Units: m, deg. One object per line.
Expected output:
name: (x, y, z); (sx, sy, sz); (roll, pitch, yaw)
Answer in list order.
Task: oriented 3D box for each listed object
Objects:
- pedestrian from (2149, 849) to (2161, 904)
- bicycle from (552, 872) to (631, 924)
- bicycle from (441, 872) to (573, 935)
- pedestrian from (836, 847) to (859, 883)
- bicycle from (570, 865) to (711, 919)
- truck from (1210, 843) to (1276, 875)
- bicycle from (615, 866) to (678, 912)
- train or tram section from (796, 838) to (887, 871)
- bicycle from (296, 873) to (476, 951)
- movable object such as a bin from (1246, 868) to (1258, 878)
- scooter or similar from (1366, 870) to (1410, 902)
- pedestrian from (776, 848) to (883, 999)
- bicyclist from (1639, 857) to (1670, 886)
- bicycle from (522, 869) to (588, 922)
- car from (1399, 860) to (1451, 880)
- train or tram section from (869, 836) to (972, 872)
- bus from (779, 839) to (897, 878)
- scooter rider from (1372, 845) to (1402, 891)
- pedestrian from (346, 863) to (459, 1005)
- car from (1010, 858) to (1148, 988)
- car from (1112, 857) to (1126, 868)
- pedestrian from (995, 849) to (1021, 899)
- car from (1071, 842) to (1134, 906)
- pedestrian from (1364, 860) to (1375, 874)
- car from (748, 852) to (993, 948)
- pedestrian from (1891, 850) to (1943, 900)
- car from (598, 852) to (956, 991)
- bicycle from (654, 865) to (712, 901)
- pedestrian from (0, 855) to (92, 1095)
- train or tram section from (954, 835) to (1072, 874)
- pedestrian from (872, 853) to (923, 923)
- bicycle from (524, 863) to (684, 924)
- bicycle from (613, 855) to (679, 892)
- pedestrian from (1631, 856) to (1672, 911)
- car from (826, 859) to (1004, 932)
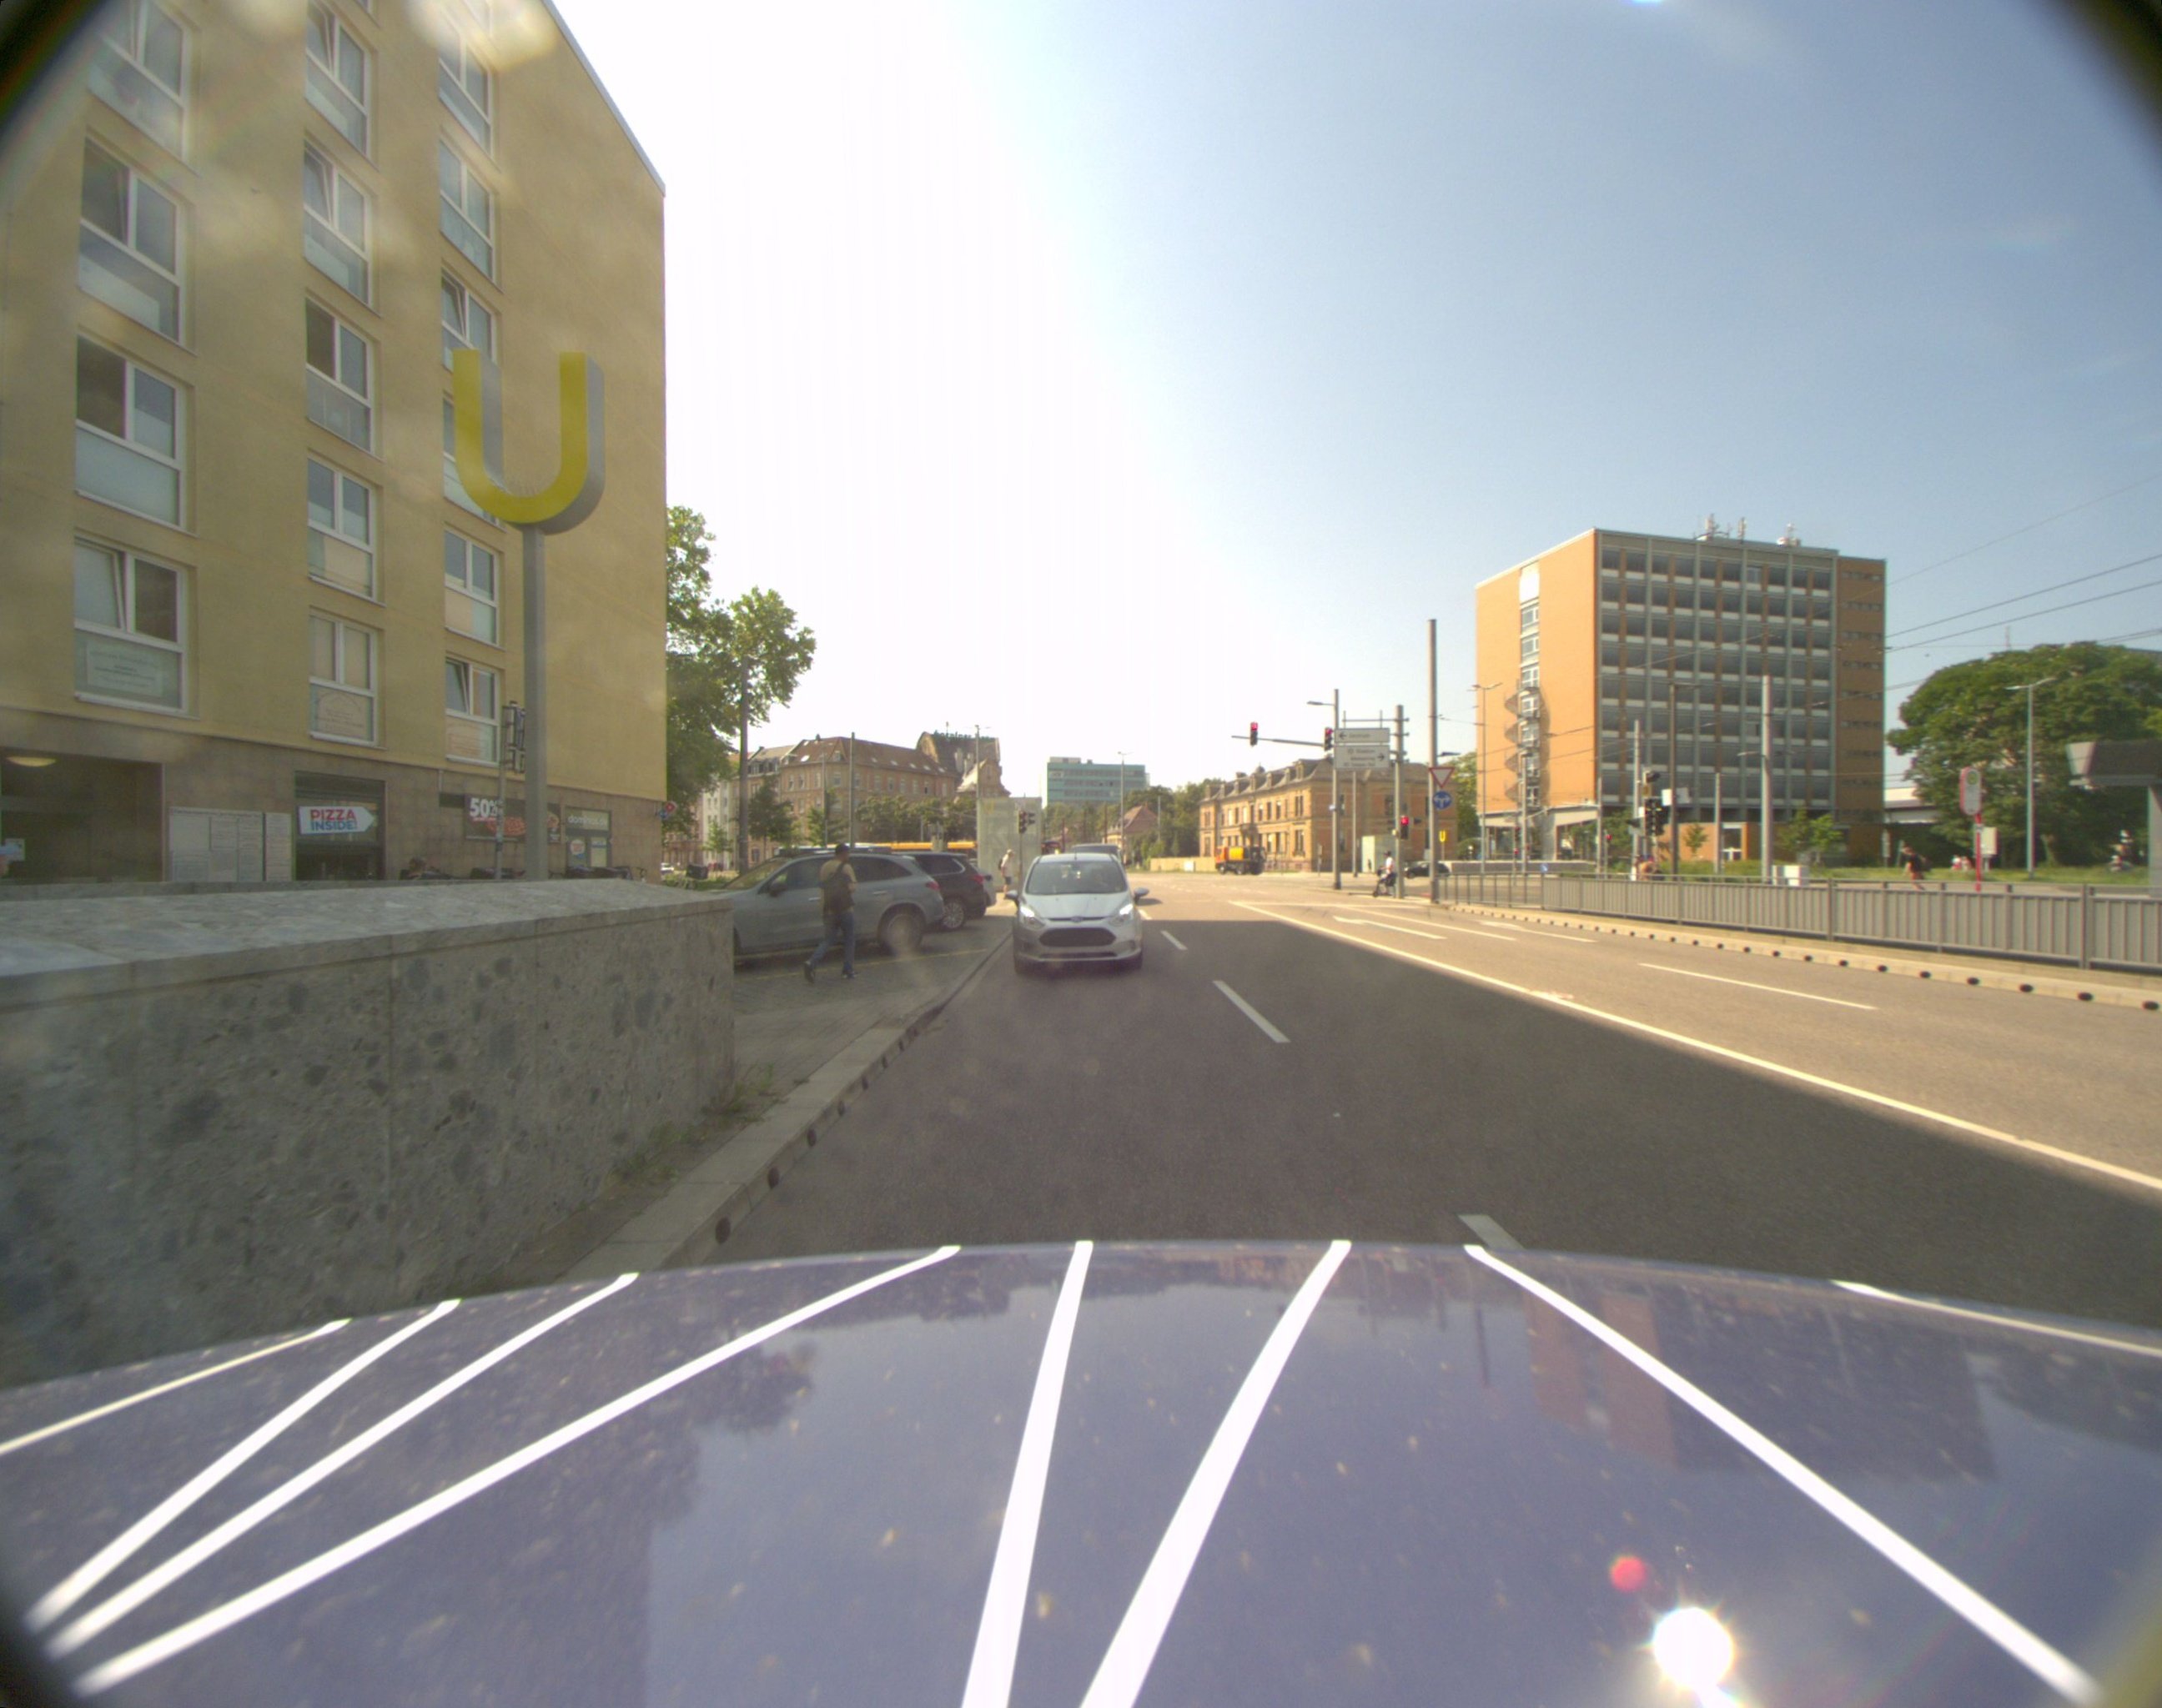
pedestrian: (35.261, 0.724, 24.313); (0.785, 1.769, 0.959); (0, 1, 3)
bicycle: (-12.143, 1.066, 18.887); (0.590, 1.231, 1.548); (0, 0, 33)
bicycle: (-12.419, 1.028, 16.579); (0.941, 1.231, 2.423); (0, 0, 3)
pedestrian: (-10.540, 0.478, 34.292); (0.793, 1.600, 0.949); (0, 1, -3)
bicycle: (-12.315, 1.021, 21.347); (3.370, 1.396, 0.902); (0, 0, -36)
truck: (17.184, 0.579, 81.259); (3.047, 3.209, 7.177); (1, -2, -27)
bicycle: (-12.533, 0.991, 21.988); (0.729, 1.239, 1.960); (0, 0, -1)
train or tram section: (-27.238, 0.053, 86.085); (12.182, 3.539, 2.601); (0, 0, 32)
bicycle: (-12.499, 0.993, 13.817); (0.941, 1.231, 2.423); (0, 0, 3)
movable object such as a bin: (19.418, 2.161, 86.269); (1.035, 1.078, 0.822); (-2, -2, 42)
scooter or similar: (11.218, 1.147, 27.808); (1.341, 1.142, 0.709); (0, 0, -1)
pedestrian: (-3.072, 0.829, 9.359); (0.867, 1.741, 0.873); (-3, -1, 9)
bicyclist: (29.020, 0.862, 38.474); (0.877, 1.451, 0.980); (0, 0, 4)
bicycle: (-12.904, 0.985, 18.688); (0.409, 1.231, 1.827); (0, 0, -2)
car: (30.569, 1.456, 67.653); (3.991, 1.782, 2.004); (-1, -2, 20)
train or tram section: (-16.905, 0.039, 79.399); (12.182, 3.539, 2.601); (0, 0, 32)
bus: (-20.837, 0.407, 64.633); (12.047, 3.046, 2.740); (0, 0, 34)
scooter rider: (11.202, 0.491, 27.820); (0.773, 1.663, 0.779); (0, 0, -2)
pedestrian: (-8.162, 0.911, 9.194); (0.854, 1.572, 0.968); (-1, 1, -33)
car: (-0.049, 0.864, 11.507); (1.692, 1.585, 4.361); (0, 0, -1)
car: (7.100, 1.654, 142.396); (1.999, 2.001, 3.999); (0, -2, -6)
pedestrian: (-2.663, 0.716, 27.812); (0.821, 1.797, 0.814); (-2, 0, 1)
car: (0.722, 0.608, 25.362); (1.899, 1.919, 4.886); (0, 0, 2)
pedestrian: (29.432, 1.342, 77.525); (0.847, 1.386, 0.787); (0, 0, 2)
car: (-4.173, 0.803, 15.482); (4.402, 1.677, 1.981); (0, 0, -41)
pedestrian: (30.150, 0.748, 27.413); (0.785, 1.769, 0.959); (0, 1, 3)
car: (-4.474, 0.832, 11.635); (4.675, 1.703, 2.038); (0, 0, -41)
bicycle: (-14.411, 1.032, 27.593); (0.794, 1.231, 2.435); (0, 0, 0)
pedestrian: (-7.875, 0.842, 5.317); (0.672, 1.675, 0.943); (0, 0, 0)
train or tram section: (-6.683, 0.020, 73.070); (12.182, 3.539, 2.601); (0, 0, 32)
pedestrian: (-4.677, 0.841, 19.370); (1.039, 1.694, 0.902); (-2, 0, -26)
bicycle: (-12.005, 0.948, 19.247); (3.370, 1.396, 0.902); (0, 0, -36)
bicycle: (-14.033, 0.620, 24.536); (1.727, 1.199, 0.589); (0, 0, -7)
pedestrian: (17.546, 0.898, 23.375); (0.574, 1.648, 0.800); (0, -2, -18)
car: (-3.995, 0.947, 18.599); (3.793, 1.491, 1.802); (-2, -1, -41)
